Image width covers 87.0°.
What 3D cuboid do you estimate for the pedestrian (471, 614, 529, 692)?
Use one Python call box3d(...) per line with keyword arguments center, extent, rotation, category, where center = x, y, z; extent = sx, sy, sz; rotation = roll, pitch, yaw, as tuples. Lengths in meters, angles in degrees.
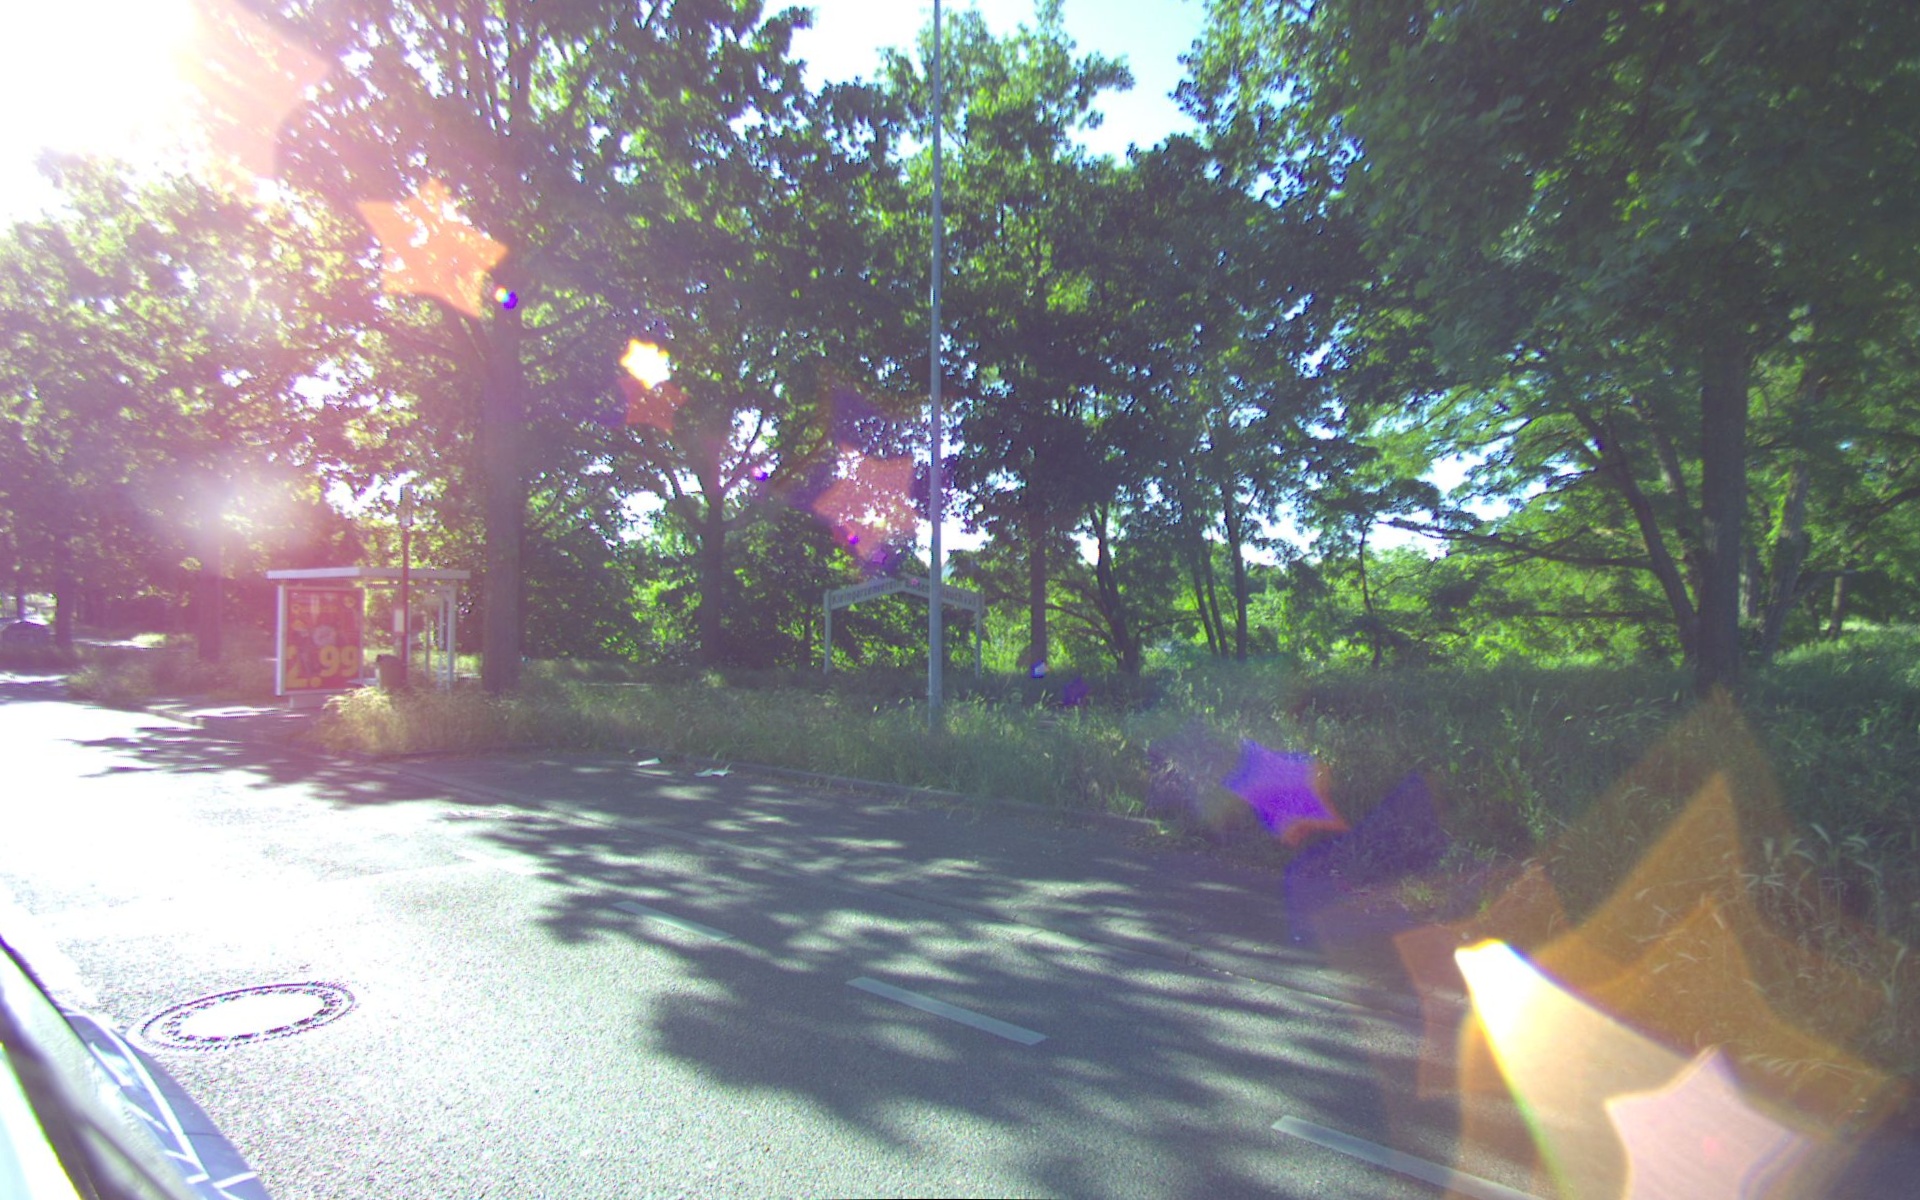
box3d(center=(-10.432, 1.192, 22.963), extent=(0.891, 1.701, 0.903), rotation=(-2, -1, 42), category="pedestrian")
